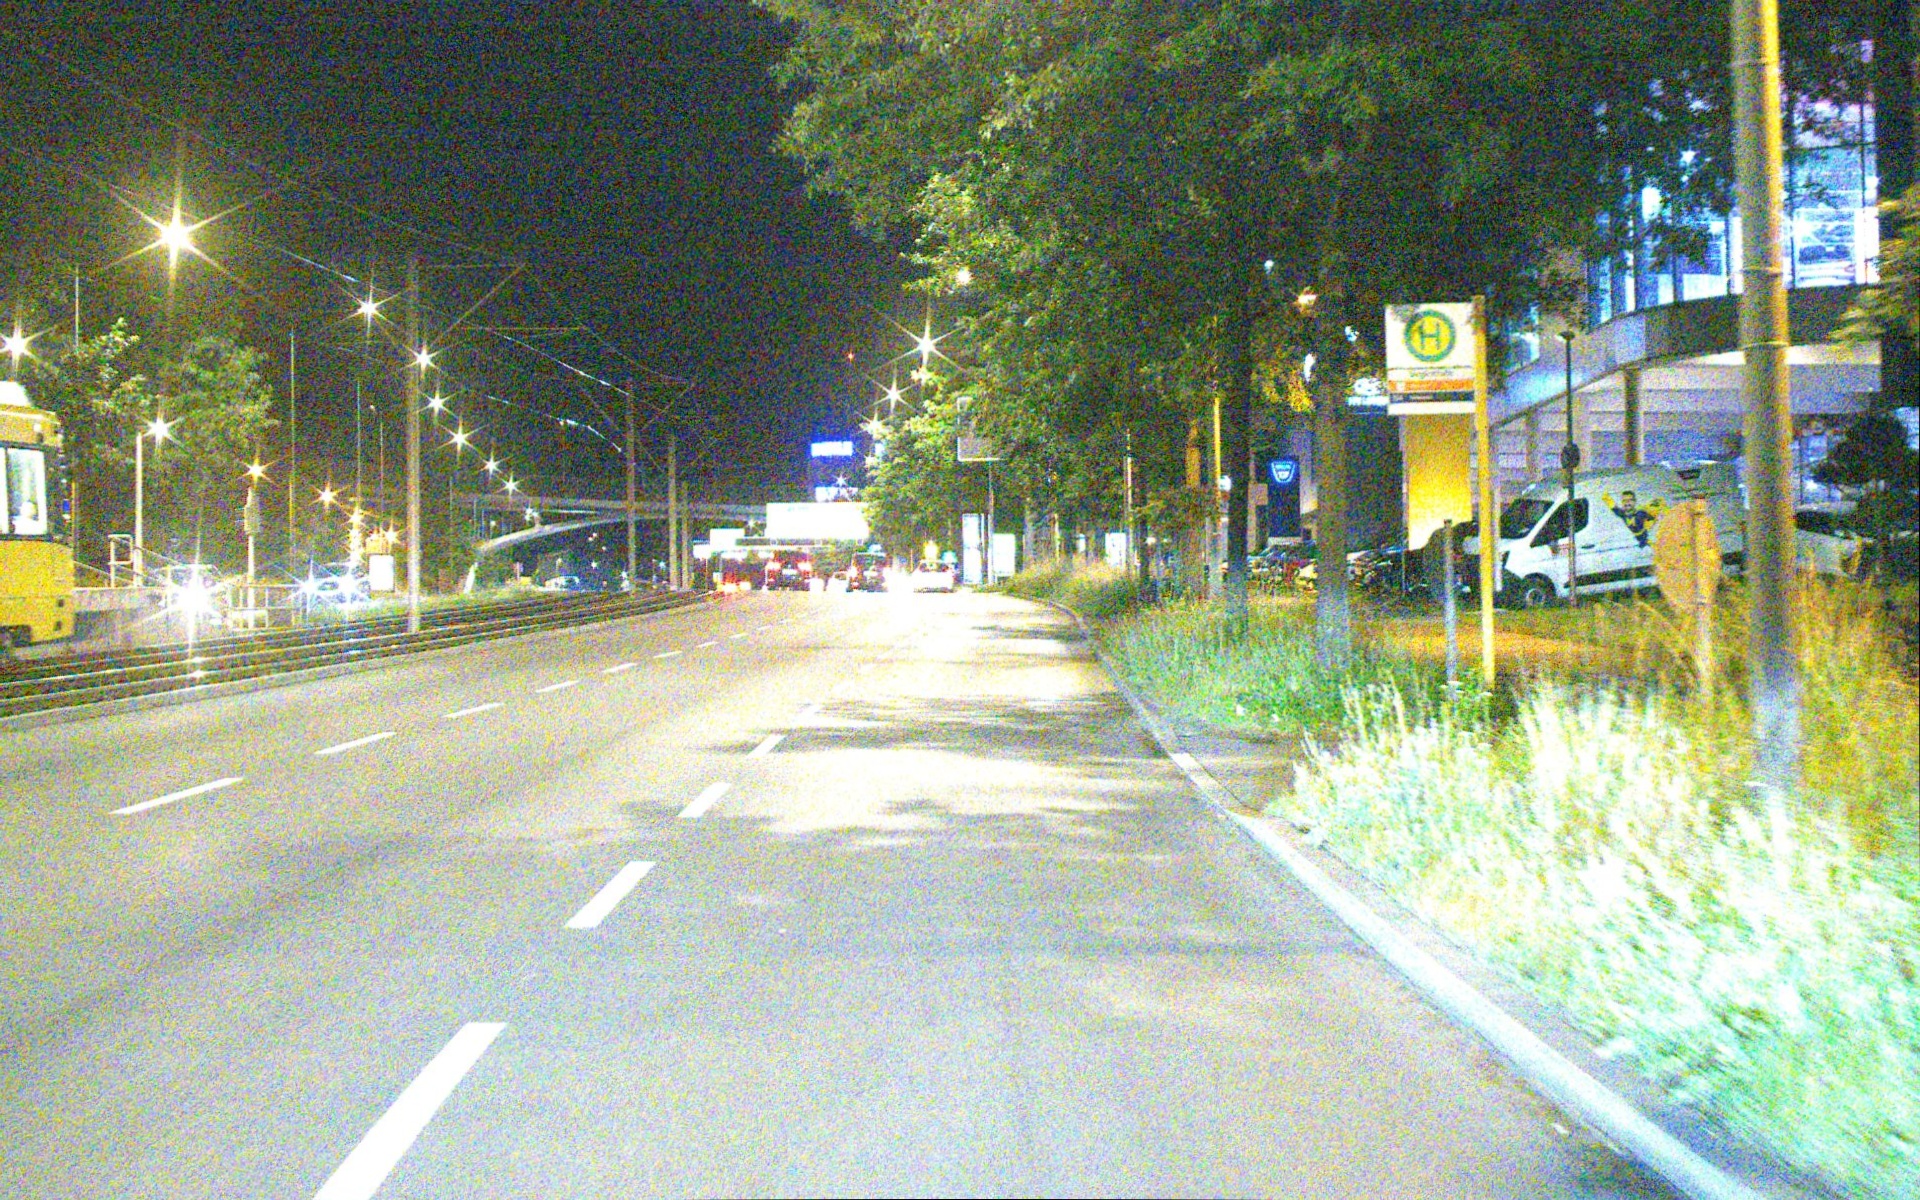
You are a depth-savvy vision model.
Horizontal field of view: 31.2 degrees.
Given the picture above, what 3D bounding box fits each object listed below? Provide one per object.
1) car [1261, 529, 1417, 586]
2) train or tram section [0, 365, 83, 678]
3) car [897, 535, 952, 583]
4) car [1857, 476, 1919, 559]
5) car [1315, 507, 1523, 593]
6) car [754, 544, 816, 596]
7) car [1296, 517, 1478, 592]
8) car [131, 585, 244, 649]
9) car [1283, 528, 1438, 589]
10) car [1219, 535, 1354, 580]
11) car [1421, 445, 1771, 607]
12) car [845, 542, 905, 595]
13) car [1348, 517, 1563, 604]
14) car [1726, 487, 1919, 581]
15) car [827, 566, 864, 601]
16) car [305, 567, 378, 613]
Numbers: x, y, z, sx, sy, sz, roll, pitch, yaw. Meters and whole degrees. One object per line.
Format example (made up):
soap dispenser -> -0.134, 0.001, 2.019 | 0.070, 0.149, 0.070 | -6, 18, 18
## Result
car -> 11.023, -1.226, 100.051 | 4.022, 1.369, 1.826 | -4, 1, -16
train or tram section -> -13.202, -0.891, 36.377 | 2.758, 3.814, 18.670 | 0, 1, 1
car -> -1.585, -1.798, 153.186 | 2.427, 2.106, 4.826 | 0, 0, -1
car -> 20.094, -1.730, 69.214 | 1.793, 1.572, 3.968 | -6, 2, -22
car -> 11.101, -1.216, 83.269 | 4.459, 1.681, 2.001 | -5, 2, -11
car -> -6.977, -1.191, 137.573 | 2.262, 2.007, 4.826 | 0, 0, -1
car -> 10.710, -1.145, 86.318 | 4.079, 1.563, 1.855 | -5, 2, -11
car -> -18.253, 0.411, 81.404 | 1.784, 1.492, 4.174 | 0, -1, -1
car -> 11.043, -1.150, 94.826 | 3.801, 1.448, 1.718 | -3, 1, -14
car -> 10.782, -1.418, 113.621 | 3.986, 1.419, 1.910 | -1, 1, -18
car -> 12.127, -1.415, 65.599 | 6.015, 2.520, 2.284 | -6, 2, -16
car -> -3.458, -1.270, 140.634 | 2.356, 2.122, 4.826 | 0, 0, -1
car -> 10.854, -0.863, 75.441 | 4.201, 1.657, 1.961 | -3, 1, -11
car -> 16.818, -1.256, 66.801 | 1.805, 1.706, 3.968 | -1, 0, -22
car -> -6.075, -0.869, 183.239 | 1.887, 1.853, 4.000 | 0, 0, 0
car -> -20.831, -0.340, 115.871 | 1.660, 1.511, 3.910 | 0, 0, 1
